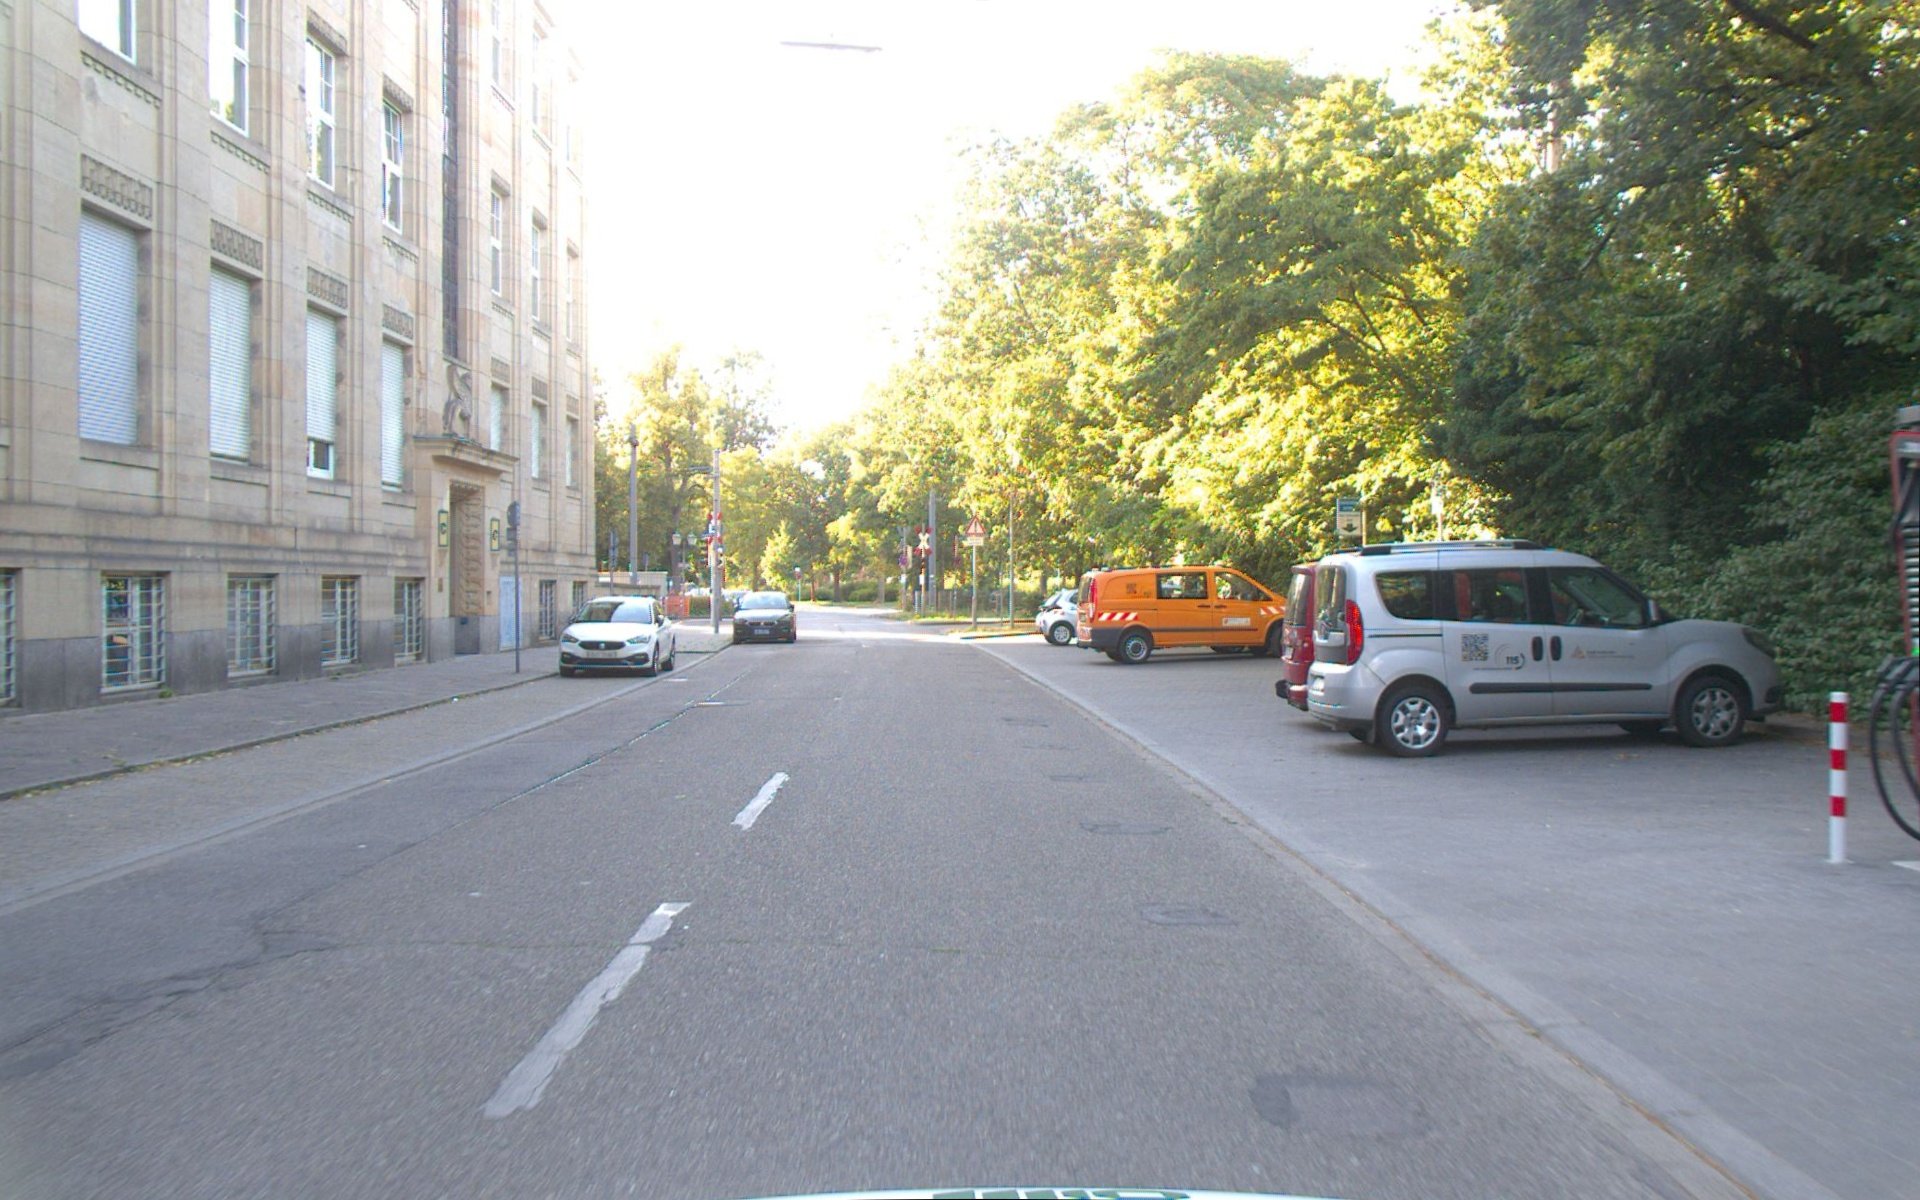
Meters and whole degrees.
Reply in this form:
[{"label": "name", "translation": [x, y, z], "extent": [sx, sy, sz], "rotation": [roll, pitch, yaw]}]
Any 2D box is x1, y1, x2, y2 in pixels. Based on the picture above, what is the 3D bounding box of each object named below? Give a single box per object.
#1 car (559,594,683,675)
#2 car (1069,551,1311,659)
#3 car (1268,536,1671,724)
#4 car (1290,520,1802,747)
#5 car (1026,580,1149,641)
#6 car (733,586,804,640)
[{"label": "car", "translation": [-6.395, 0.605, 31.622], "extent": [1.693, 1.421, 4.370], "rotation": [0, 0, -3]}, {"label": "car", "translation": [4.839, 0.087, 35.060], "extent": [4.727, 2.048, 1.799], "rotation": [-2, 0, -7]}, {"label": "car", "translation": [5.557, 0.313, 18.364], "extent": [3.941, 1.867, 1.614], "rotation": [-2, 0, 0]}, {"label": "car", "translation": [5.431, 0.298, 15.774], "extent": [4.142, 1.892, 2.000], "rotation": [-2, 0, 0]}, {"label": "car", "translation": [3.496, 0.274, 45.585], "extent": [3.084, 1.529, 1.538], "rotation": [-2, 0, -7]}, {"label": "car", "translation": [-5.614, 0.346, 48.940], "extent": [1.841, 1.492, 4.370], "rotation": [0, 1, -3]}]
